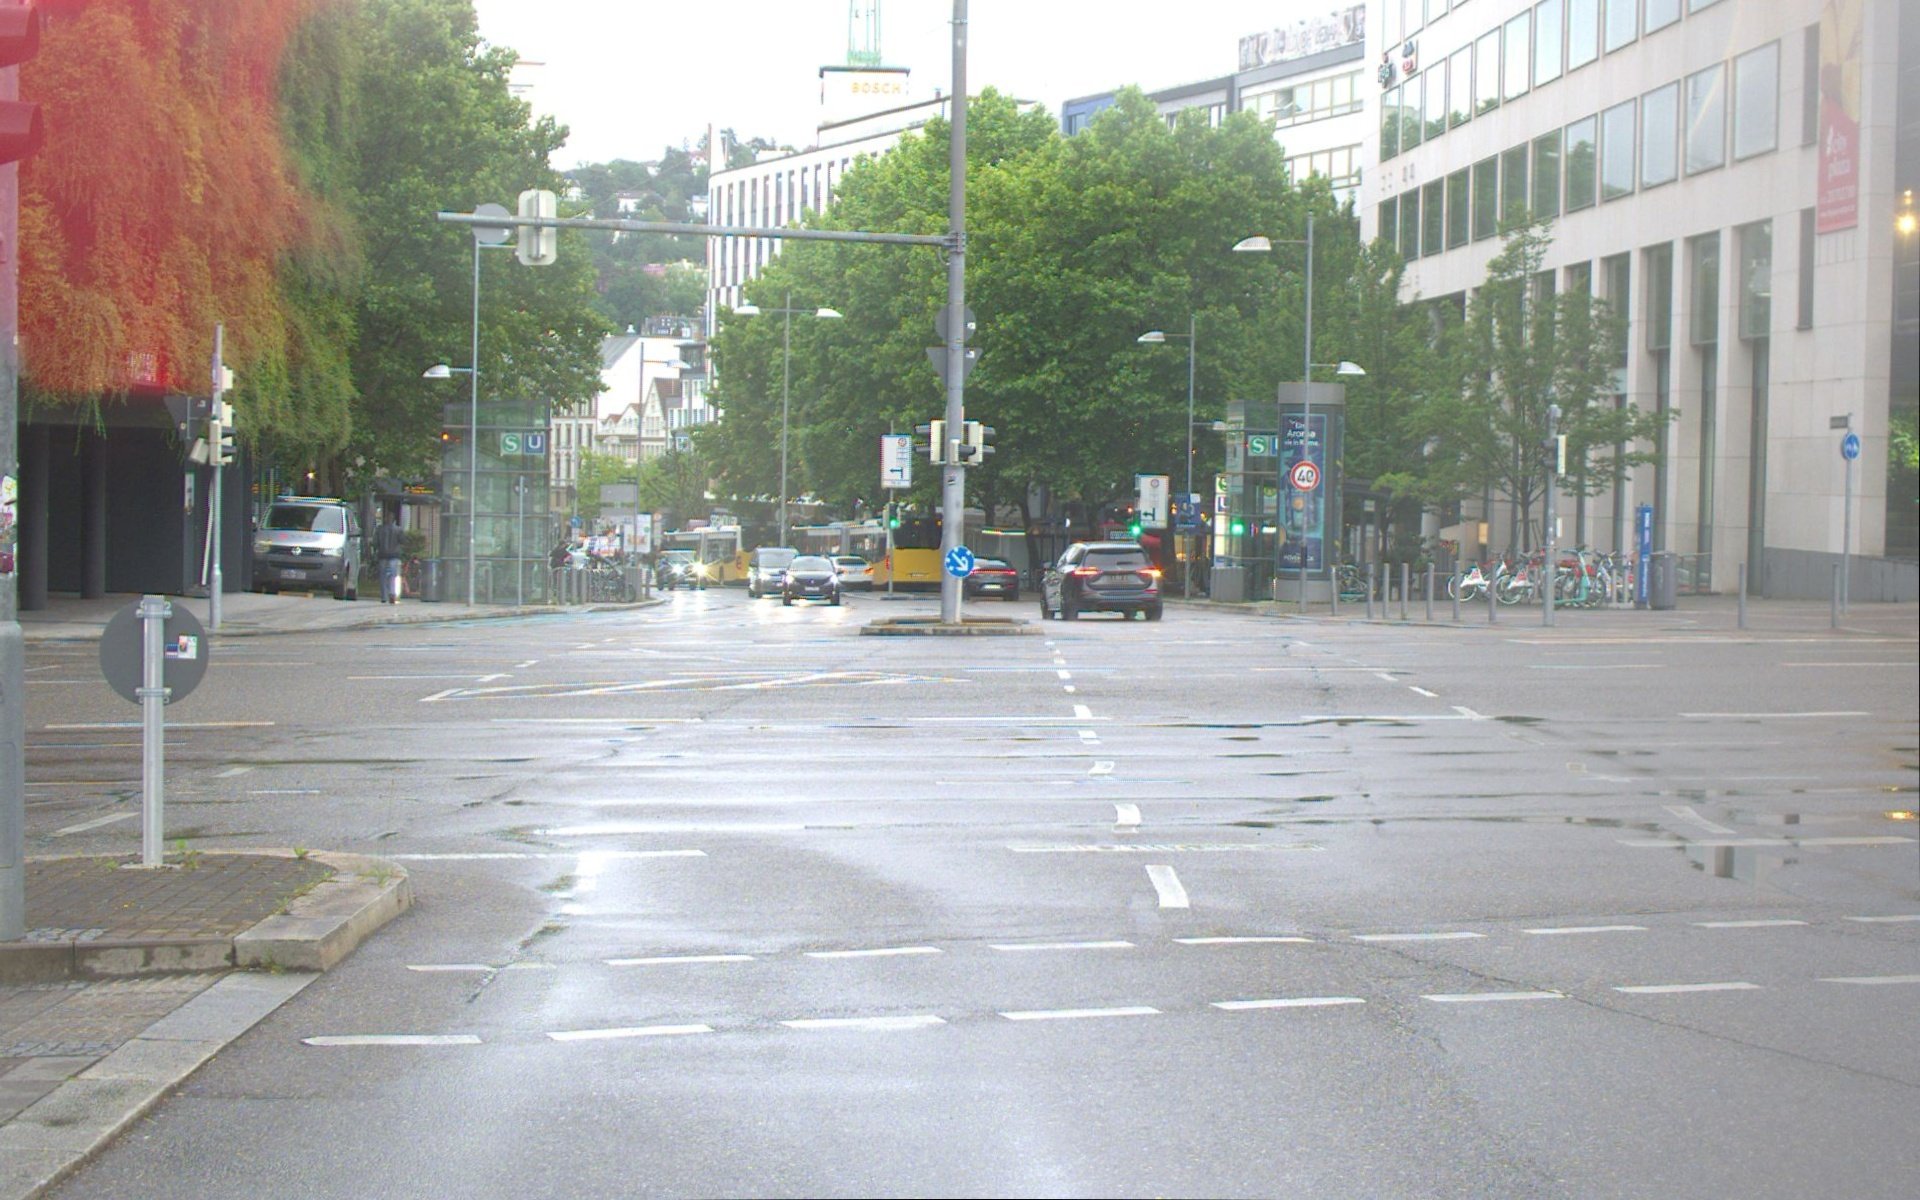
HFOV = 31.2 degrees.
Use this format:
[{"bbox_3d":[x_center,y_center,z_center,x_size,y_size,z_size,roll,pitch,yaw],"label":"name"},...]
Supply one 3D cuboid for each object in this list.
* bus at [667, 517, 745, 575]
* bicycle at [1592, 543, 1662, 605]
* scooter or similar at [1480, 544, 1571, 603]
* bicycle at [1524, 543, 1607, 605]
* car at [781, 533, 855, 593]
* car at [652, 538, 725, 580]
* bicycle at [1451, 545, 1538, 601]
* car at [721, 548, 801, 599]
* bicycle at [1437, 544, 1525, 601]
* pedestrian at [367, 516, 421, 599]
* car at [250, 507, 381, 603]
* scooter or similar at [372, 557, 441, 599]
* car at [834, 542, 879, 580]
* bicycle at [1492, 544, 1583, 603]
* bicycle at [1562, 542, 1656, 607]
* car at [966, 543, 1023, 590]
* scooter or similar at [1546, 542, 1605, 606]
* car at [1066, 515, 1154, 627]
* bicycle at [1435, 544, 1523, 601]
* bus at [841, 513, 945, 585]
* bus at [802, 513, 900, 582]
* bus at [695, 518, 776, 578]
[{"bbox_3d":[-13.371,-2.853,180.328,2.627,2.985,7.451,0,1,-16],"label":"bus"},{"bbox_3d":[12.996,-0.496,66.953,0.586,1.190,1.779,1,1,38],"label":"bicycle"},{"bbox_3d":[11.670,-0.554,70.983,1.777,1.190,0.586,1,0,2],"label":"scooter or similar"},{"bbox_3d":[11.693,-0.509,66.396,0.584,1.190,1.784,1,1,-28],"label":"bicycle"},{"bbox_3d":[-4.401,-1.144,105.627,2.164,1.759,5.112,1,1,-3],"label":"car"},{"bbox_3d":[-11.830,-1.787,149.615,2.163,1.759,5.113,1,1,-16],"label":"car"},{"bbox_3d":[11.553,-0.589,74.327,1.777,1.190,0.586,1,0,2],"label":"bicycle"},{"bbox_3d":[-7.070,-0.940,121.756,2.163,1.759,4.832,-1,1,-11],"label":"car"},{"bbox_3d":[11.125,-0.586,73.409,1.777,1.190,0.586,1,0,2],"label":"bicycle"},{"bbox_3d":[-11.356,-0.849,69.017,0.933,1.638,0.774,1,0,-1],"label":"pedestrian"},{"bbox_3d":[-12.777,-0.887,68.330,1.870,1.833,4.000,1,1,-1],"label":"car"},{"bbox_3d":[-13.284,-0.535,82.548,0.623,1.001,1.657,1,1,38],"label":"scooter or similar"},{"bbox_3d":[-4.249,-1.613,141.734,1.781,1.503,4.000,1,1,-1],"label":"car"},{"bbox_3d":[12.024,-0.556,71.606,1.777,1.190,0.586,1,0,2],"label":"bicycle"},{"bbox_3d":[12.236,-0.486,64.844,1.624,1.190,0.586,1,0,26],"label":"bicycle"},{"bbox_3d":[1.130,-1.096,113.345,1.781,1.503,4.000,1,1,-1],"label":"car"},{"bbox_3d":[11.482,-0.489,64.159,0.963,1.190,0.454,1,1,40],"label":"scooter or similar"},{"bbox_3d":[2.776,-0.542,64.209,1.544,2.007,4.668,1,1,2],"label":"car"},{"bbox_3d":[10.977,-0.582,72.775,1.777,1.190,0.586,1,0,2],"label":"bicycle"},{"bbox_3d":[-2.900,-2.201,145.941,2.627,2.985,7.451,0,1,-16],"label":"bus"},{"bbox_3d":[-4.914,-2.351,153.087,2.627,2.985,7.451,0,1,-16],"label":"bus"},{"bbox_3d":[-11.356,-2.644,173.233,2.627,2.985,7.330,0,1,-16],"label":"bus"}]
